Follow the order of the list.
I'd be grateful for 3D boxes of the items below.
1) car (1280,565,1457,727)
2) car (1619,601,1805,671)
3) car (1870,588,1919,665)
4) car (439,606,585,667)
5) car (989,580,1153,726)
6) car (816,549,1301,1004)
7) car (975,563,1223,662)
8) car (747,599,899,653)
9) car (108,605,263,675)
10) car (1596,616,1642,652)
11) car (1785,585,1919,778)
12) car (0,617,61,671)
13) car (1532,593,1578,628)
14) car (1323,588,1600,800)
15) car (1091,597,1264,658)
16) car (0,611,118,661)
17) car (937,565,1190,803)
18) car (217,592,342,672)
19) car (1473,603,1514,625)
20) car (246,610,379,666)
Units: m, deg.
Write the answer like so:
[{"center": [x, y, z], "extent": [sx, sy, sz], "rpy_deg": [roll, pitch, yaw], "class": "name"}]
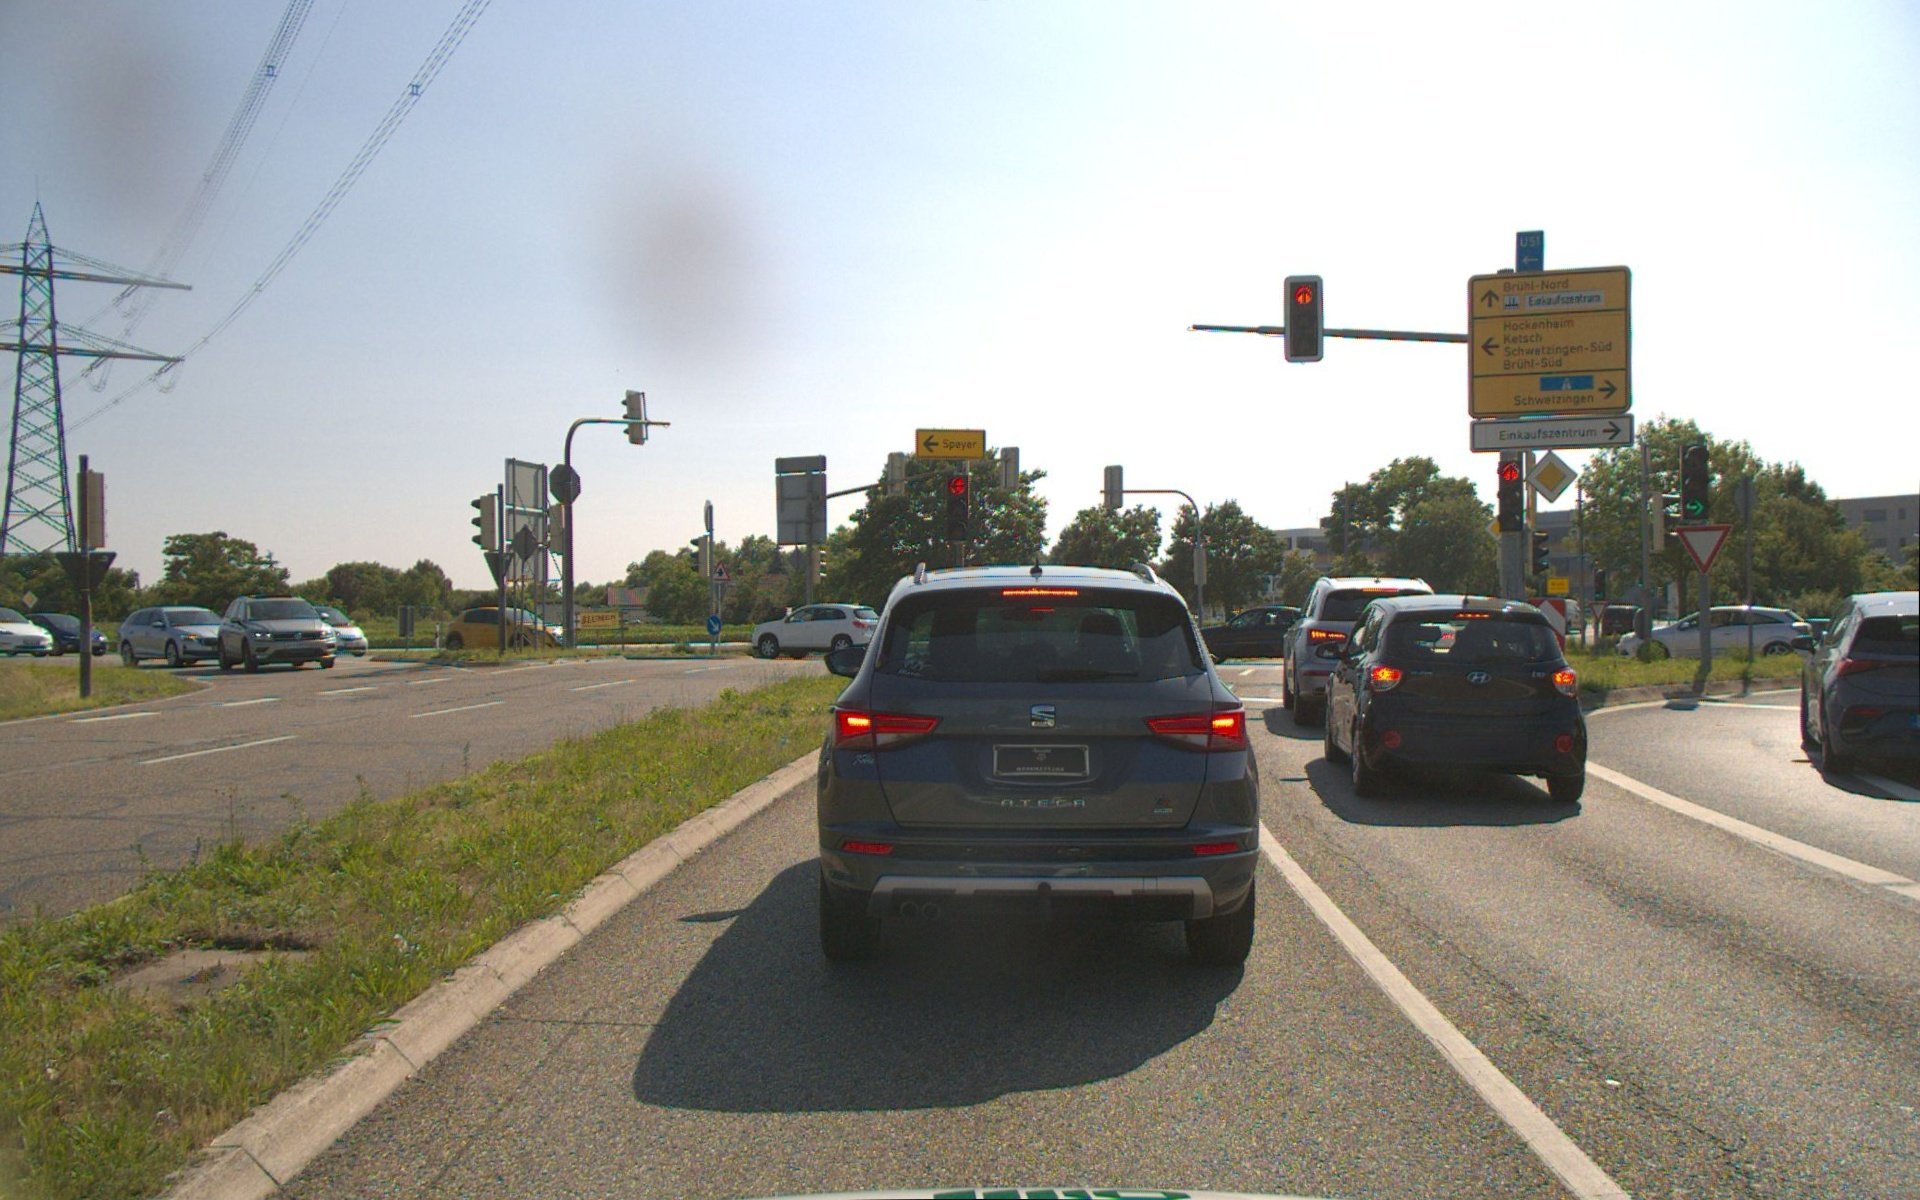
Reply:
[{"center": [4.730, 0.495, 19.587], "extent": [1.598, 1.706, 3.752], "rpy_deg": [1, 0, 7], "class": "car"}, {"center": [17.186, 0.803, 37.853], "extent": [3.792, 1.545, 1.806], "rpy_deg": [-1, 0, 26], "class": "car"}, {"center": [19.947, 0.519, 32.269], "extent": [3.826, 1.490, 1.720], "rpy_deg": [0, 0, 30], "class": "car"}, {"center": [-12.903, 1.028, 47.649], "extent": [3.911, 1.680, 1.817], "rpy_deg": [-1, 0, 29], "class": "car"}, {"center": [1.347, 0.566, 19.305], "extent": [1.705, 1.510, 3.626], "rpy_deg": [1, 0, 6], "class": "car"}, {"center": [0.364, 0.620, 7.691], "extent": [1.706, 1.596, 3.624], "rpy_deg": [1, 0, 0], "class": "car"}, {"center": [2.921, 0.238, 34.620], "extent": [4.871, 1.951, 1.983], "rpy_deg": [0, 1, -26], "class": "car"}, {"center": [-4.113, 0.773, 49.523], "extent": [4.237, 1.545, 1.806], "rpy_deg": [-1, 0, 26], "class": "car"}, {"center": [-19.493, 0.982, 41.588], "extent": [3.917, 1.680, 1.814], "rpy_deg": [-1, 0, 34], "class": "car"}, {"center": [33.197, 1.683, 83.271], "extent": [1.840, 1.702, 3.767], "rpy_deg": [1, 0, 26], "class": "car"}, {"center": [8.809, 0.652, 15.248], "extent": [1.736, 1.544, 4.100], "rpy_deg": [1, 1, 21], "class": "car"}, {"center": [-31.677, 1.417, 54.084], "extent": [4.655, 1.680, 1.817], "rpy_deg": [0, 0, 29], "class": "car"}, {"center": [32.451, 0.589, 90.148], "extent": [1.684, 1.851, 3.770], "rpy_deg": [1, 0, 30], "class": "car"}, {"center": [3.917, 0.657, 13.390], "extent": [1.598, 1.473, 3.297], "rpy_deg": [1, 0, 7], "class": "car"}, {"center": [5.790, 0.722, 44.136], "extent": [4.237, 1.545, 1.806], "rpy_deg": [-1, 0, 26], "class": "car"}, {"center": [-31.528, 1.249, 57.870], "extent": [3.911, 1.680, 1.817], "rpy_deg": [-1, 0, 29], "class": "car"}, {"center": [0.750, 0.581, 13.147], "extent": [1.706, 1.596, 3.625], "rpy_deg": [1, 0, 1], "class": "car"}, {"center": [-15.206, 0.676, 36.845], "extent": [1.799, 1.680, 3.951], "rpy_deg": [0, 0, -35], "class": "car"}, {"center": [39.094, 1.049, 121.206], "extent": [1.684, 1.576, 3.594], "rpy_deg": [1, 0, 38], "class": "car"}, {"center": [-20.392, 1.172, 52.063], "extent": [3.911, 1.680, 1.817], "rpy_deg": [-1, 0, 29], "class": "car"}]
